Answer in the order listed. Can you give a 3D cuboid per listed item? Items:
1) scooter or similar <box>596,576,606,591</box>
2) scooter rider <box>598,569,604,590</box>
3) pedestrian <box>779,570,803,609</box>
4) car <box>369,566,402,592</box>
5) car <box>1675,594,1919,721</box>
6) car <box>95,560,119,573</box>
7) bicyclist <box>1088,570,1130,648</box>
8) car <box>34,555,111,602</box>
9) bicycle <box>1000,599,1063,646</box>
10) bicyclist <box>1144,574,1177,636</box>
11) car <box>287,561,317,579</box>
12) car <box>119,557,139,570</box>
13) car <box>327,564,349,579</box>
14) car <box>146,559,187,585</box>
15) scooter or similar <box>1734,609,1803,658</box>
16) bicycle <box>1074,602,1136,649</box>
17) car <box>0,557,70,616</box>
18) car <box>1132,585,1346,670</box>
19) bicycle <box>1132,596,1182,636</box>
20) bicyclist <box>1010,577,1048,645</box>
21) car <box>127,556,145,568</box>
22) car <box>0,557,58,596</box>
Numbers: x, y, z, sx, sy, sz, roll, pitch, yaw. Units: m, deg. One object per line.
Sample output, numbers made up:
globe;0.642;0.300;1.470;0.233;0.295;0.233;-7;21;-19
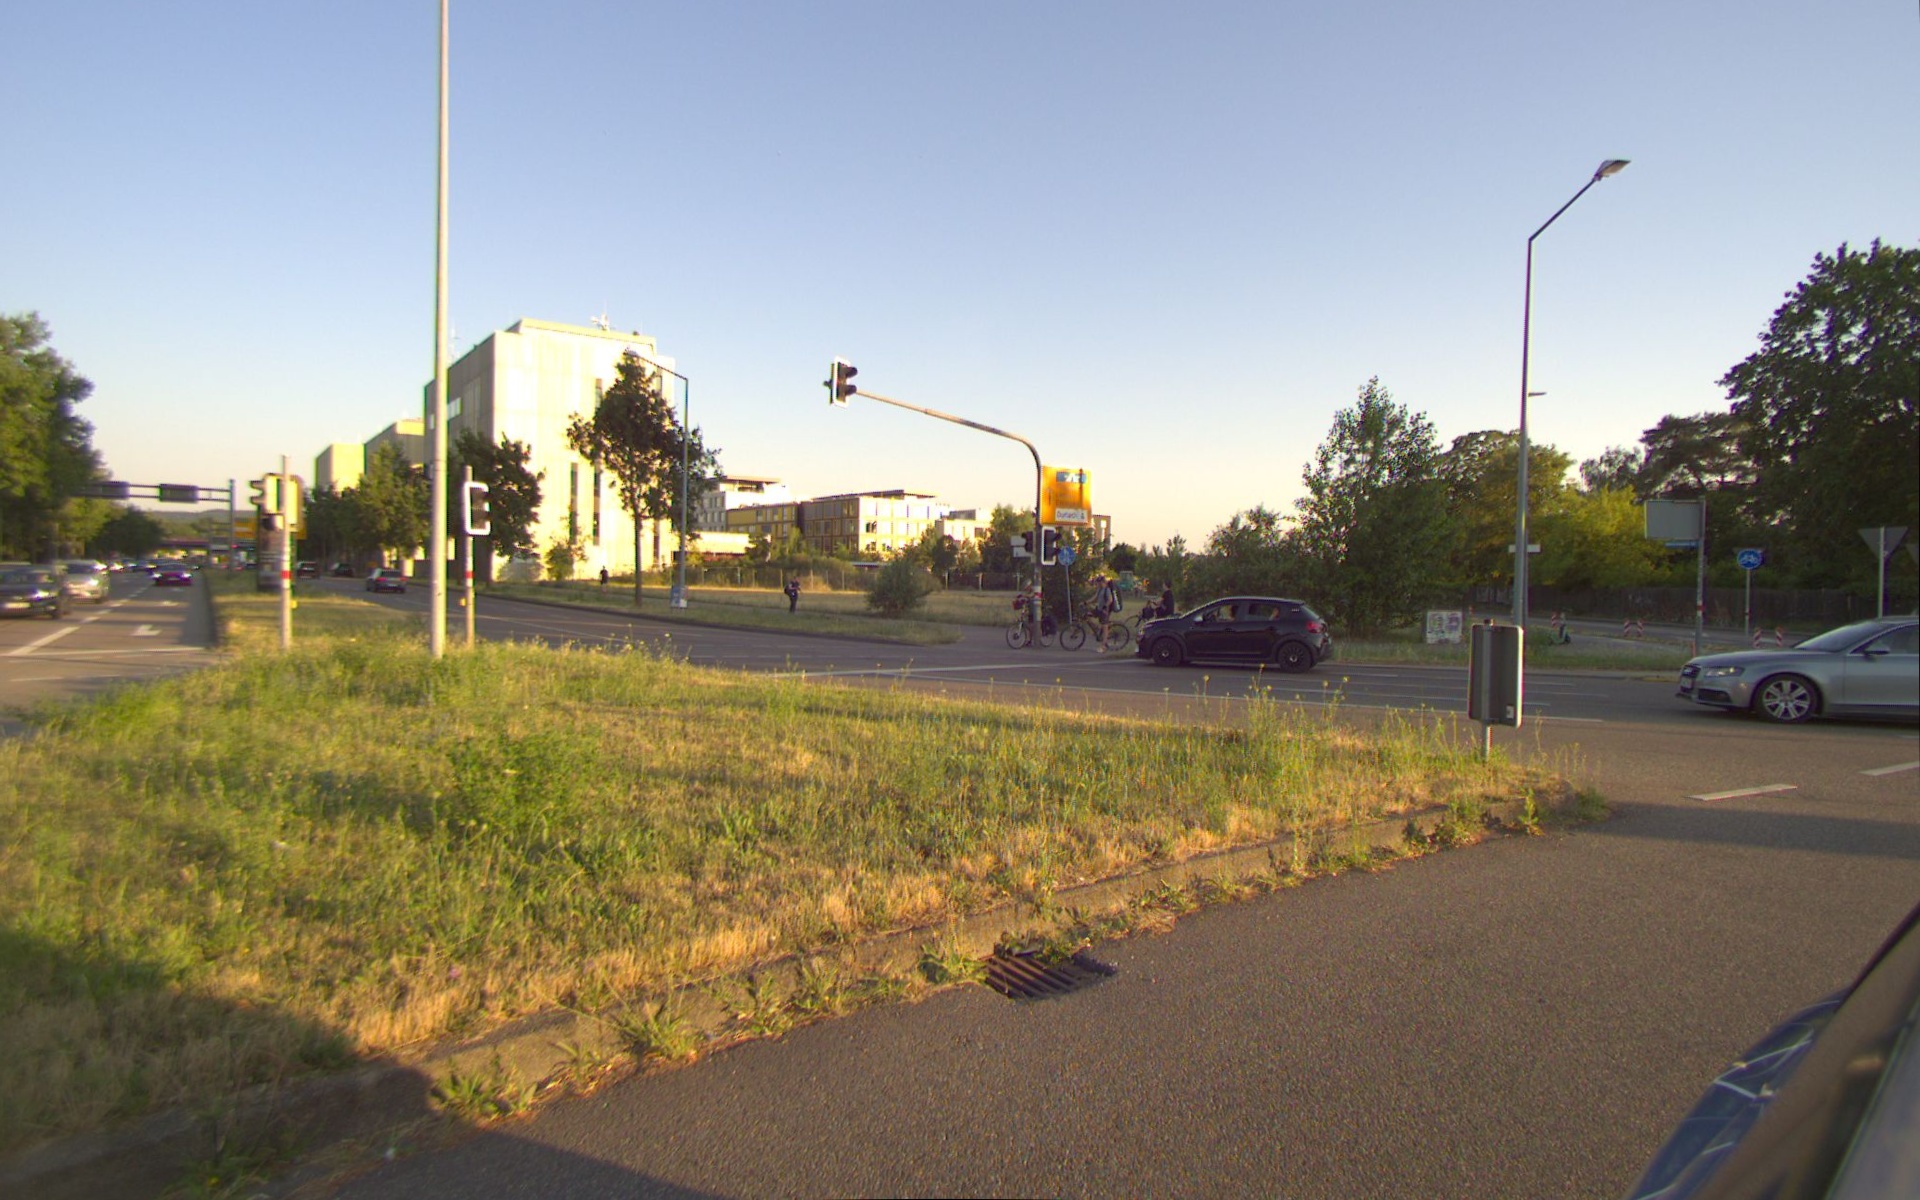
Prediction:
scooter or similar;-23.156;-1.068;65.270;0.242;0.925;1.039;1;1;-37
scooter rider;-23.142;-1.337;65.257;0.260;1.356;0.406;1;1;-37
pedestrian;-6.883;-0.412;41.310;0.782;1.569;0.567;0;1;-38
car;-35.623;-1.322;62.747;1.716;1.441;4.140;1;1;-30
car;11.989;0.727;12.850;4.399;1.440;1.789;2;1;23
car;-85.969;-3.360;102.028;1.589;1.325;3.715;-1;2;-37
bicyclist;3.798;0.204;25.790;0.894;1.921;0.640;-2;3;-41
car;-35.944;-0.885;41.108;1.887;1.776;4.920;-1;2;-36
bicycle;1.900;0.578;26.776;1.895;1.098;0.456;-3;3;-41
bicyclist;5.789;0.143;29.251;0.833;1.765;0.534;1;1;18
car;-60.332;-2.766;92.757;1.786;1.544;4.130;1;2;-40
car;-94.359;-4.132;114.935;1.589;1.537;3.715;-1;2;-37
car;-67.941;-3.098;110.482;1.718;1.507;4.135;1;1;-36
car;-49.202;-1.735;62.837;1.811;1.479;4.580;1;1;-36
scooter or similar;20.367;0.831;25.504;1.356;1.177;0.443;1;1;-3
bicycle;3.731;0.637;25.927;1.895;1.098;0.456;-2;3;-41
car;-28.278;-0.428;30.600;1.770;1.653;4.453;-1;2;-38
car;5.677;0.495;20.620;3.959;1.482;1.788;2;1;25
bicycle;5.695;0.451;29.271;1.354;1.102;0.278;2;1;19
bicyclist;1.826;0.274;26.747;0.757;1.722;0.640;-2;3;-41
car;-105.402;-4.842;129.517;1.589;1.537;3.715;-1;2;-37
car;-44.135;-1.117;47.705;1.877;1.731;4.941;1;1;-36
